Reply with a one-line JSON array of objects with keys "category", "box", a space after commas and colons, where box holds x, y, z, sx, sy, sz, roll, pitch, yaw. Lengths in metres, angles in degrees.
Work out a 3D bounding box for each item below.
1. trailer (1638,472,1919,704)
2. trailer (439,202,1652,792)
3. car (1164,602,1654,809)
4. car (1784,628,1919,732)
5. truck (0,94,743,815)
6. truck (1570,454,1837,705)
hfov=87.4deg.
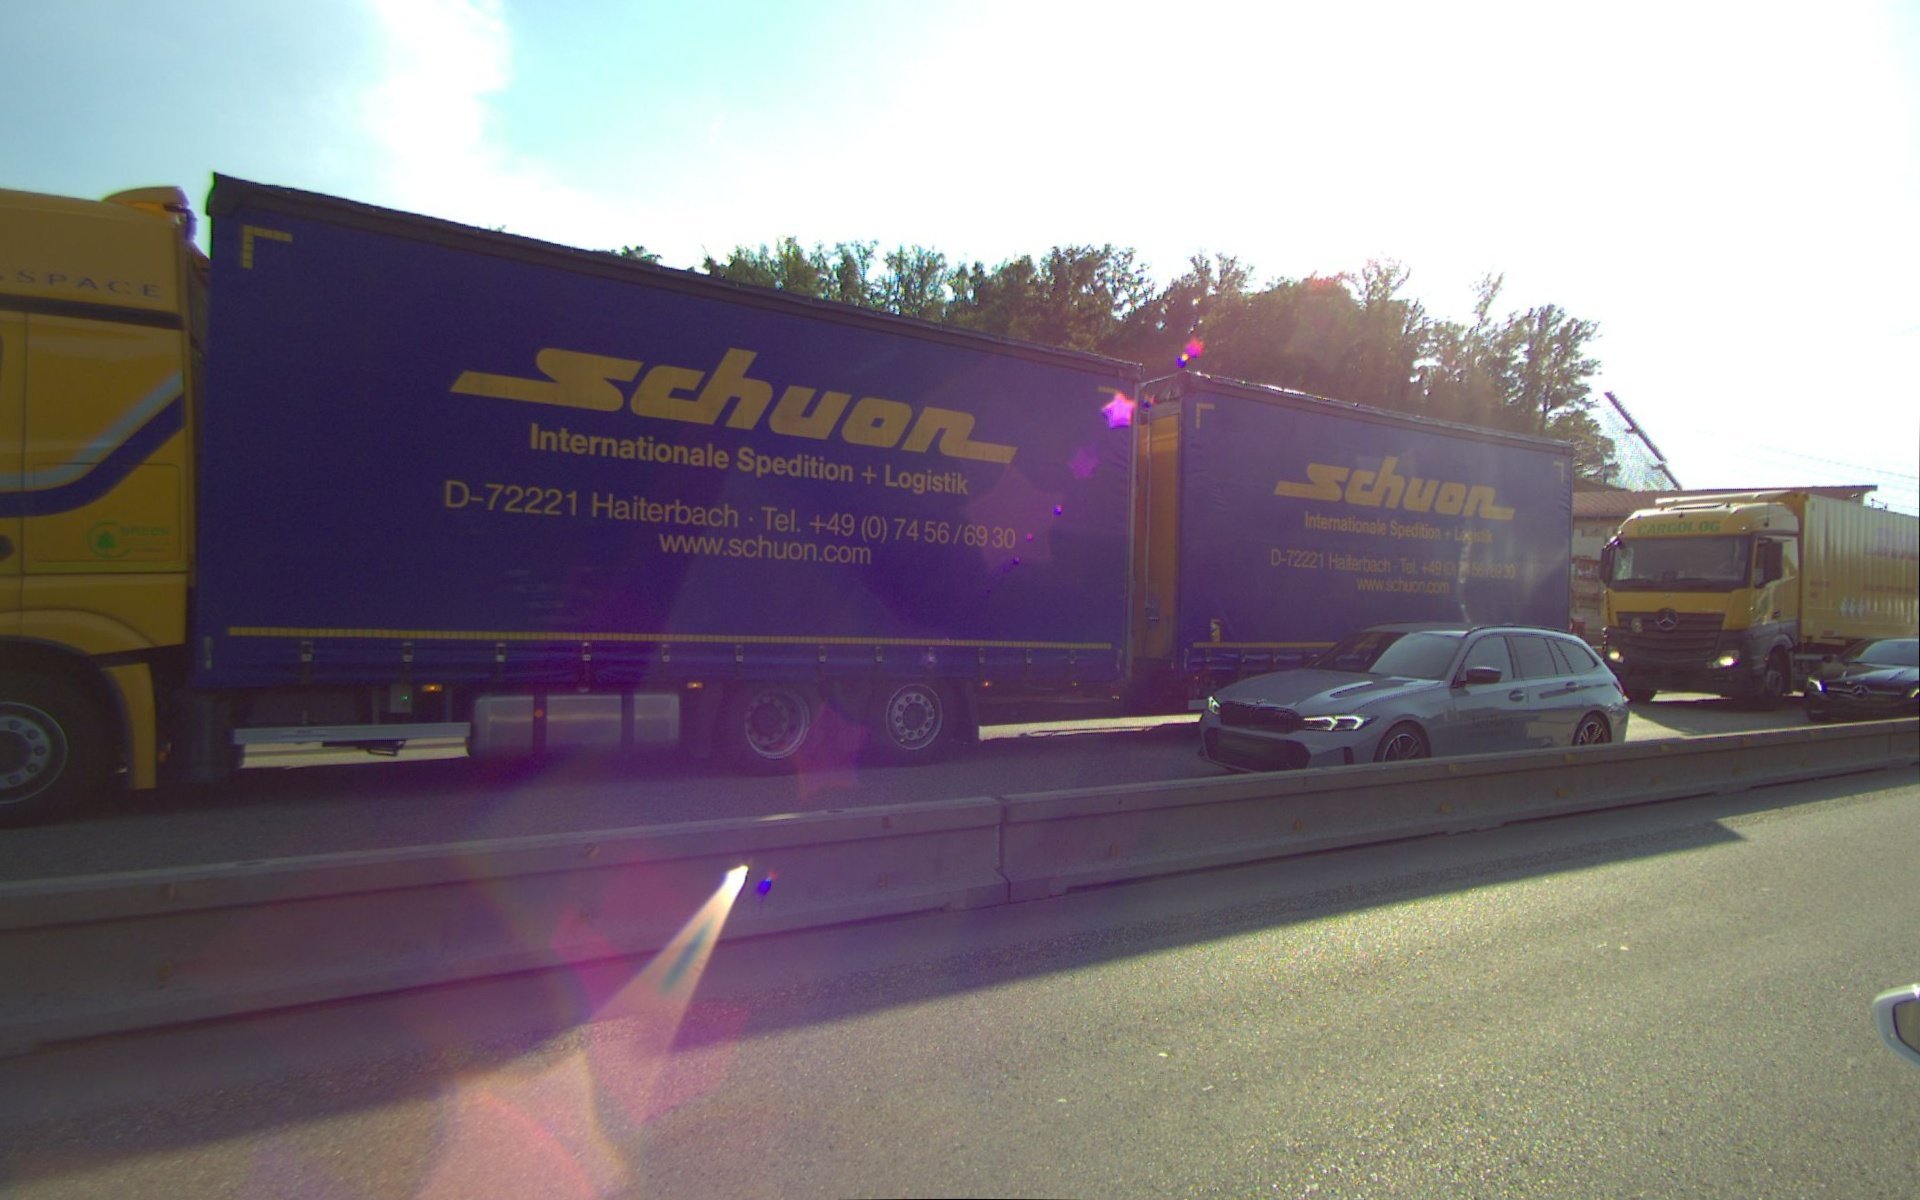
[{"category": "trailer", "box": [21.423, 0.135, 23.781, 15.821, 4.259, 2.686, 3, -2, -32]}, {"category": "trailer", "box": [2.951, -0.358, 12.535, 16.560, 4.189, 2.701, 3, -2, -31]}, {"category": "car", "box": [4.282, 0.882, 9.344, 4.670, 1.517, 1.780, 3, -2, -30]}, {"category": "car", "box": [15.519, 1.286, 16.422, 4.564, 1.472, 1.788, 3, -2, -32]}, {"category": "truck", "box": [-4.951, -0.774, 7.802, 5.728, 4.195, 2.688, 3, -1, -31]}, {"category": "truck", "box": [14.282, -0.247, 19.284, 4.350, 4.252, 2.679, 3, -1, -32]}]
